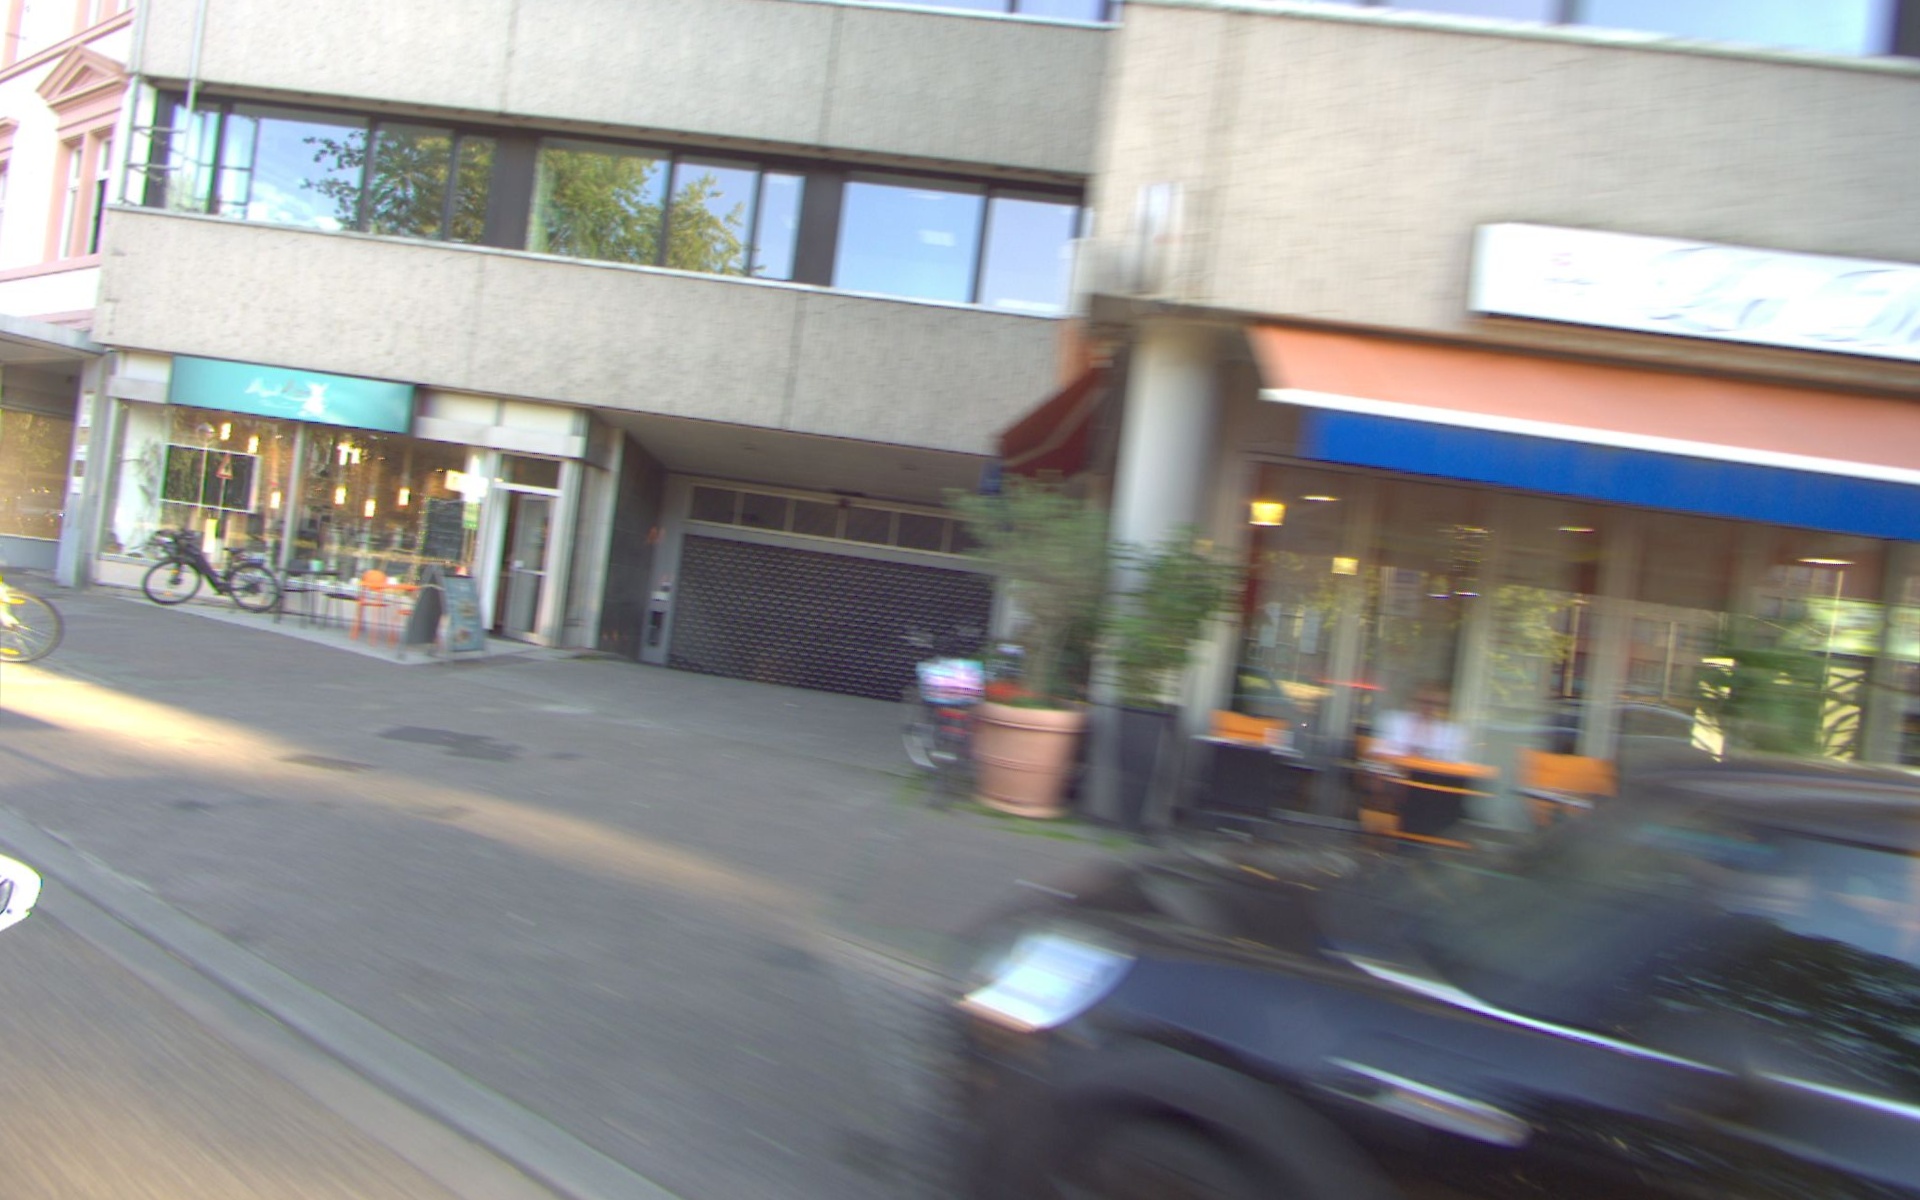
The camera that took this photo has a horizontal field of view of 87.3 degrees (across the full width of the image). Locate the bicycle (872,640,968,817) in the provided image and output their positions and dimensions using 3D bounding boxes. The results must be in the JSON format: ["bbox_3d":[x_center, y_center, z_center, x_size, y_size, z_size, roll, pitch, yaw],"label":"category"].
[{"bbox_3d":[-0.346,0.893,7.603,0.450,1.018,1.888,6,1,-8],"label":"bicycle"}]

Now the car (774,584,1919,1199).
[{"bbox_3d":[1.744,1.022,2.060,3.855,1.525,1.794,7,-2,32],"label":"car"}]

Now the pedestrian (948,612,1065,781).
[{"bbox_3d":[0.412,0.813,8.718,0.694,1.312,0.642,8,2,22],"label":"pedestrian"}]

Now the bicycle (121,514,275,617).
[{"bbox_3d":[-10.708,-0.473,14.176,1.637,1.293,0.414,4,1,-12],"label":"bicycle"}]

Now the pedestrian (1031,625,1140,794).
[{"bbox_3d":[1.063,0.903,8.471,0.528,1.294,0.705,8,1,30],"label":"pedestrian"}]

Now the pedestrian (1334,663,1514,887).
[{"bbox_3d":[3.049,1.122,6.671,0.697,1.313,0.763,6,-1,-4],"label":"pedestrian"}]

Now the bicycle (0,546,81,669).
[{"bbox_3d":[-8.612,0.026,8.428,0.534,1.003,1.784,10,3,42],"label":"bicycle"}]
